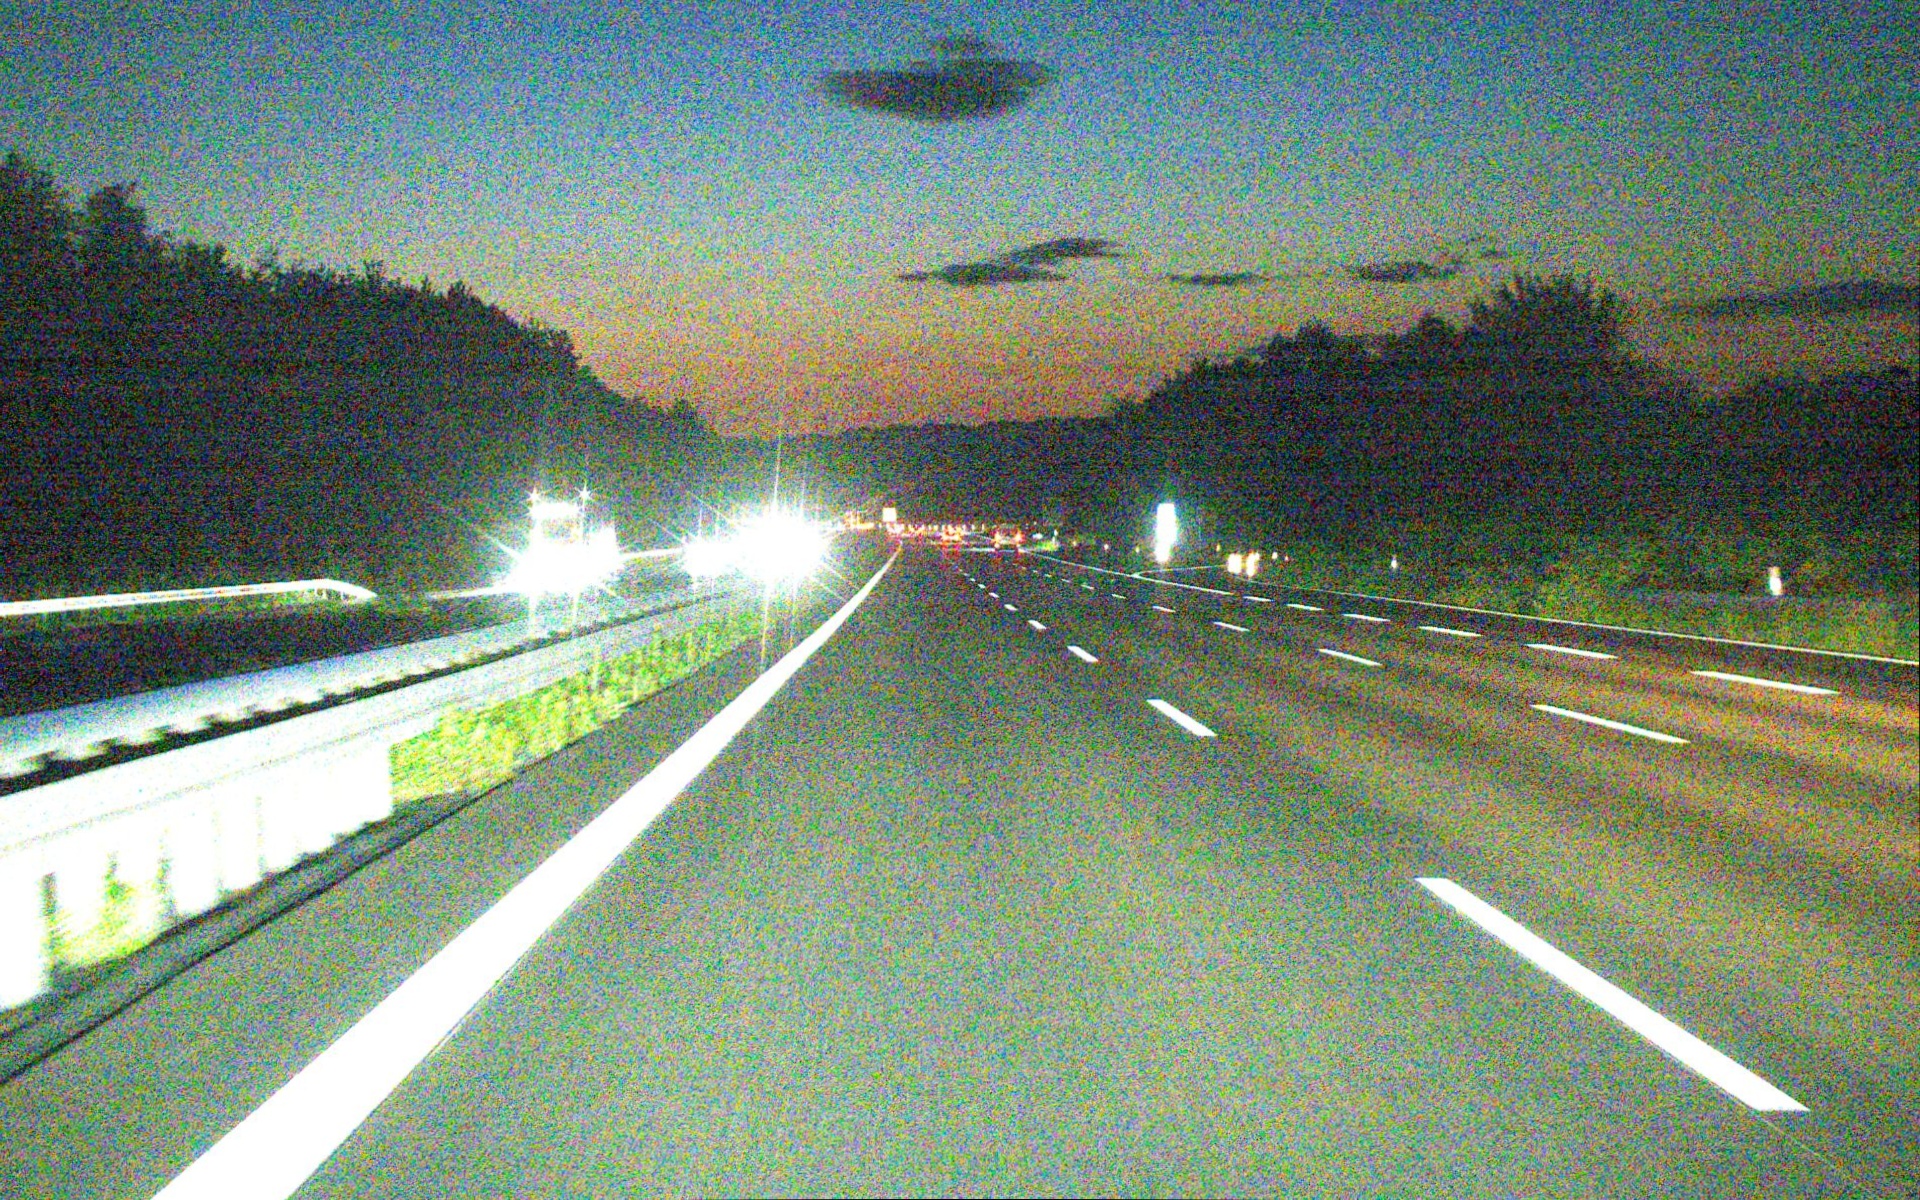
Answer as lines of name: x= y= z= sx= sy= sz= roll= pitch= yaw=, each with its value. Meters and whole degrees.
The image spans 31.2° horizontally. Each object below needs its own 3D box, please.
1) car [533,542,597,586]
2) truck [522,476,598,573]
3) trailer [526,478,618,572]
car: x=-14.273 y=-1.311 z=124.431 sx=1.993 sy=1.456 sz=4.693 roll=-2 pitch=1 yaw=-3
truck: x=-18.071 y=-3.402 z=155.657 sx=2.753 sy=4.197 sz=5.827 roll=-2 pitch=1 yaw=-1
trailer: x=-18.265 y=-3.484 z=162.699 sx=2.860 sy=4.161 sz=13.906 roll=-2 pitch=1 yaw=-1
